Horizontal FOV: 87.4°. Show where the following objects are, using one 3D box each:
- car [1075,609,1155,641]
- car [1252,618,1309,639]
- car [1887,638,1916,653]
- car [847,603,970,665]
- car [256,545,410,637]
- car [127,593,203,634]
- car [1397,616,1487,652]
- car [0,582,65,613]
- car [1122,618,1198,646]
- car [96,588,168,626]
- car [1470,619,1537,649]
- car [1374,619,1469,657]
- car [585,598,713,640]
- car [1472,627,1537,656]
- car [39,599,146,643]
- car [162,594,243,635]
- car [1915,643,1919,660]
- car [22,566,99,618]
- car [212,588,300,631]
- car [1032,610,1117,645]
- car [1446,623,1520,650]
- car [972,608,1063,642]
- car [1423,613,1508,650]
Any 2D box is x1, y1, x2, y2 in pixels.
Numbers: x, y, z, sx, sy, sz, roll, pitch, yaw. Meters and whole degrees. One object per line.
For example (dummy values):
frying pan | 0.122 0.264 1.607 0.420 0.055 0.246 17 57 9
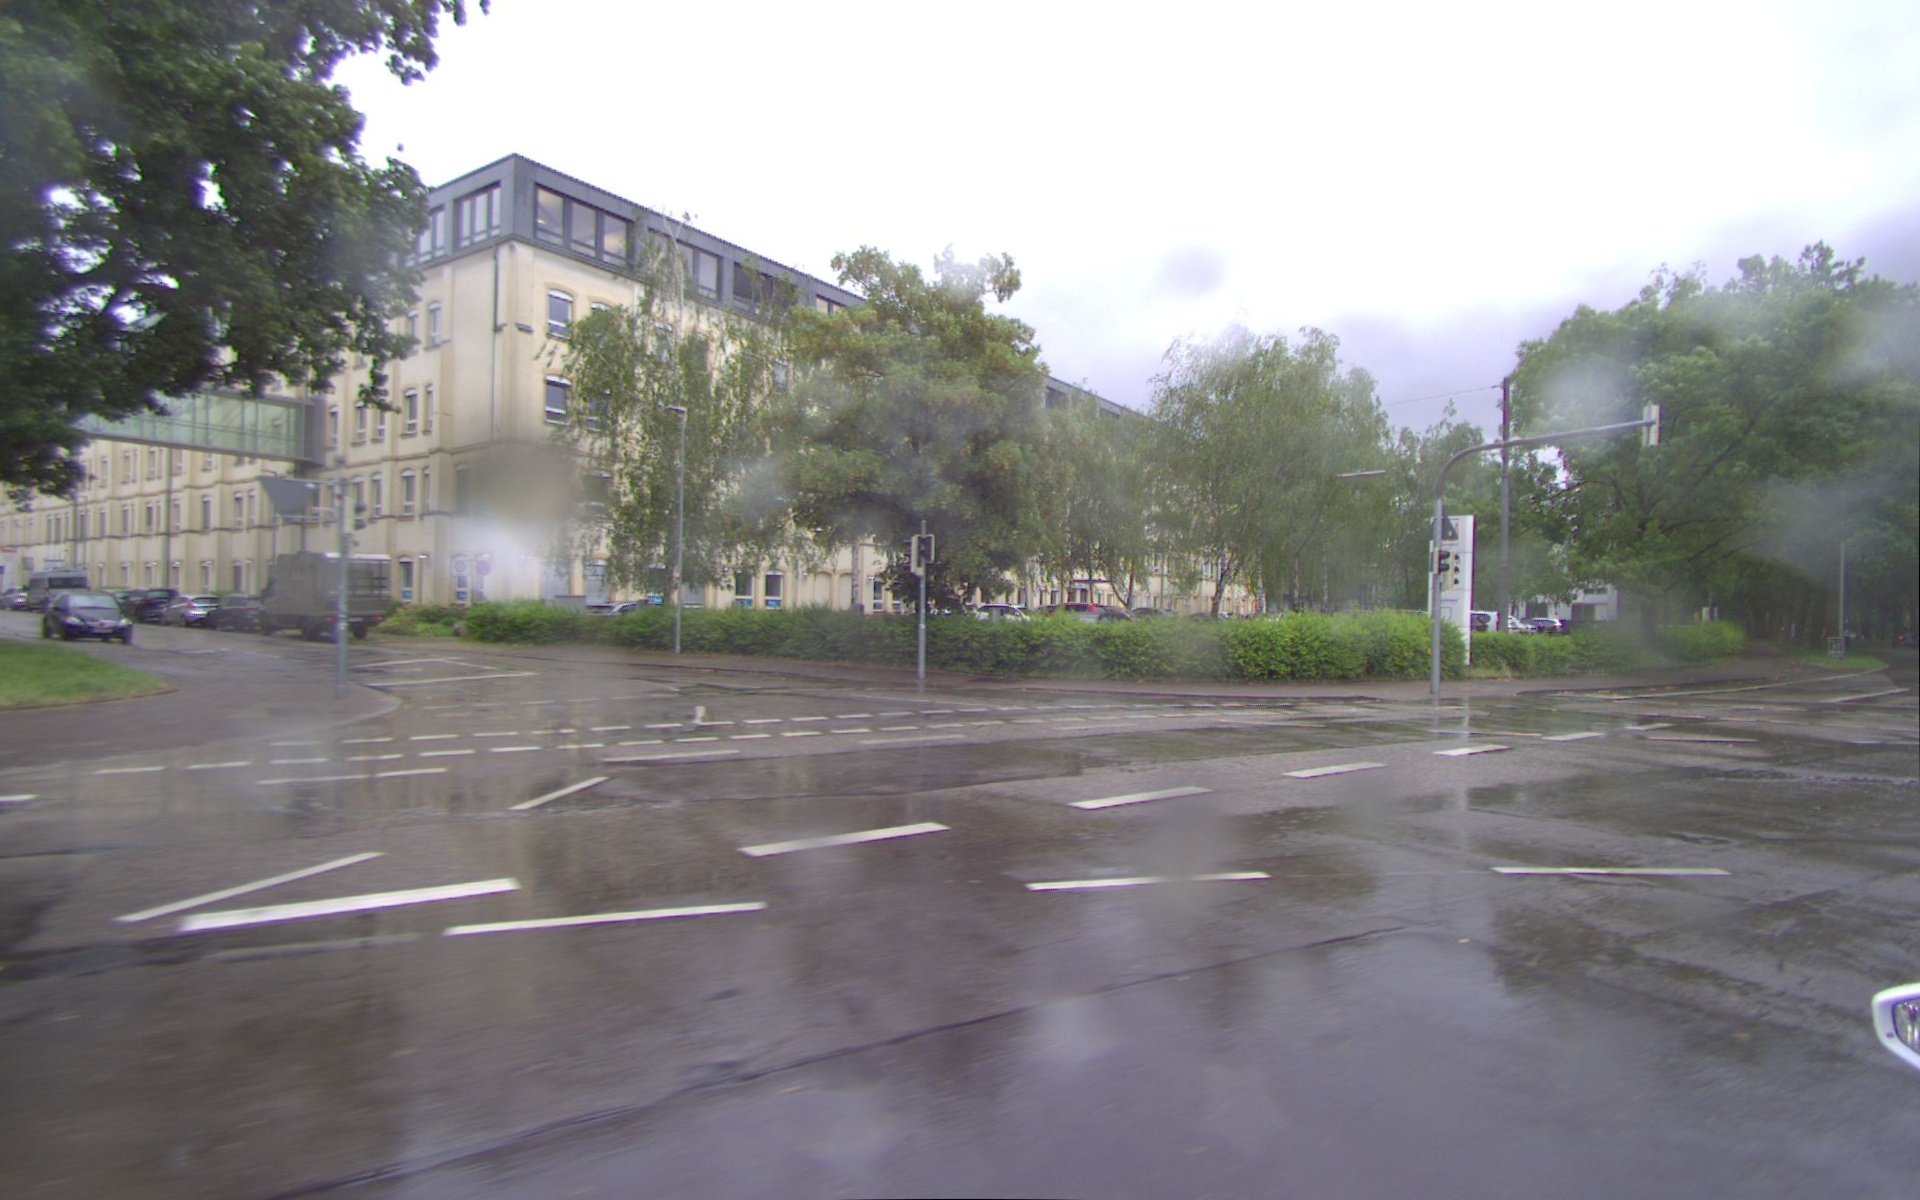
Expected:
car | 8.700 1.399 56.463 3.935 1.708 1.993 0 -1 36
car | 25.762 2.282 80.685 3.935 1.580 1.993 0 -1 36
car | 92.569 4.479 98.804 1.684 1.430 3.630 -1 -2 37
car | -1.455 0.989 30.087 1.751 1.708 4.016 1 -1 31
car | -23.879 -0.372 38.171 6.114 3.236 2.829 2 0 36
car | -38.994 0.626 49.255 3.936 1.840 1.993 2 0 37
car | 25.071 1.745 52.300 3.937 1.660 1.702 2 0 38
car | -59.131 -0.168 63.835 5.524 1.835 2.328 2 0 37
car | 11.991 1.881 60.377 3.935 1.580 2.157 0 -1 36
car | -43.416 0.375 52.651 3.936 1.840 1.993 2 0 37
car | 38.947 2.429 71.951 3.938 2.040 1.991 0 -1 39
car | 22.776 1.824 49.582 3.933 1.660 1.994 2 0 35
car | -12.139 0.747 39.495 1.968 1.519 4.516 2 0 36
car | 40.050 3.017 73.959 3.938 2.040 1.991 0 -1 39
car | -29.211 0.680 33.808 4.031 1.286 1.900 2 0 37
car | -34.842 0.639 46.176 3.935 1.703 1.887 2 0 36
car | 81.651 4.330 84.378 1.684 1.430 3.630 -1 -2 37
car | -53.006 -0.492 59.149 5.524 2.909 2.328 2 0 37
car | -30.106 0.390 42.919 3.935 1.679 1.887 2 0 36
car | 5.943 1.400 52.437 3.935 1.708 1.993 0 -1 36
car | 33.970 2.374 65.252 3.940 1.571 1.877 2 0 41
car | 2.773 1.174 48.478 3.935 1.539 1.993 0 -1 36
car | 27.763 1.707 55.225 3.933 1.857 1.849 2 0 35
